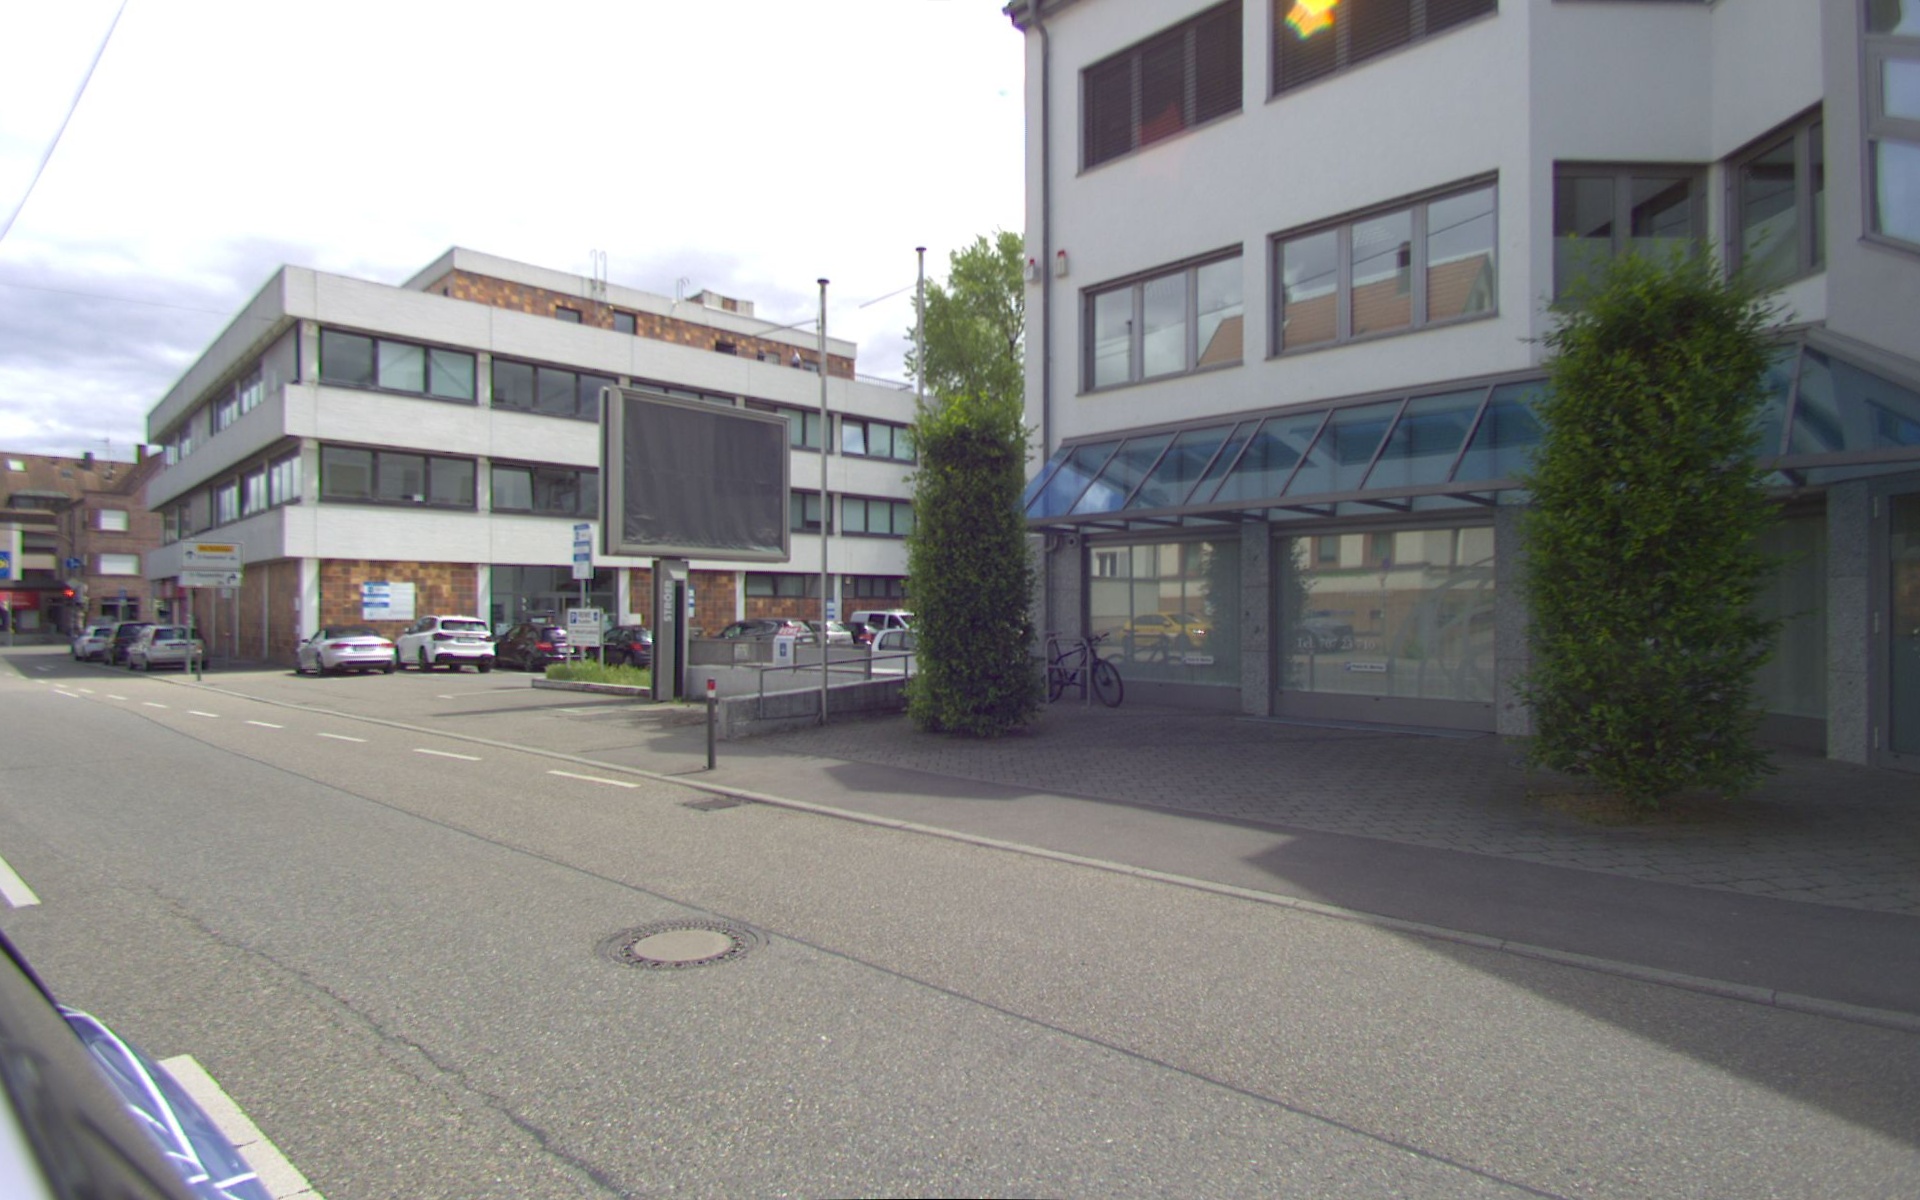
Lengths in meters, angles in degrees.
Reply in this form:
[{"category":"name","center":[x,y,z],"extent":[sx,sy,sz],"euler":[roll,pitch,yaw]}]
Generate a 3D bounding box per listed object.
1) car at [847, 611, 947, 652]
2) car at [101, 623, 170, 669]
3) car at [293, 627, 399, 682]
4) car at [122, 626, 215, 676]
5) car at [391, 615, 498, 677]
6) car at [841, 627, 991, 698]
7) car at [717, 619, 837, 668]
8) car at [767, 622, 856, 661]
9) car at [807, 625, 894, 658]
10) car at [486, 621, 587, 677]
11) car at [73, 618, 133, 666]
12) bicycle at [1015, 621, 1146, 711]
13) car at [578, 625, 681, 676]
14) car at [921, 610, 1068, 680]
[{"category":"car","center":[-2.775,1.326,44.116],"extent":[1.948,1.678,4.431],"euler":[-1,0,-44]},{"category":"car","center":[-30.592,1.644,37.524],"extent":[1.783,1.541,4.005],"euler":[-1,0,-42]},{"category":"car","center":[-17.425,1.488,28.636],"extent":[1.798,1.338,4.241],"euler":[-1,0,-42]},{"category":"car","center":[-25.747,1.610,32.875],"extent":[4.220,1.437,1.815],"euler":[-1,0,44]},{"category":"car","center":[-15.403,1.346,30.164],"extent":[1.870,1.710,3.805],"euler":[3,-3,-42]},{"category":"car","center":[-1.243,1.620,27.258],"extent":[3.951,1.678,1.798],"euler":[-1,0,44]},{"category":"car","center":[-6.135,1.399,33.715],"extent":[4.002,1.485,1.971],"euler":[-1,0,45]},{"category":"car","center":[-6.016,1.633,40.694],"extent":[1.644,1.451,3.860],"euler":[-1,0,-42]},{"category":"car","center":[-4.612,1.705,42.355],"extent":[1.637,1.269,3.860],"euler":[-1,0,-42]},{"category":"car","center":[-13.623,1.516,32.465],"extent":[3.844,1.620,1.625],"euler":[-1,0,45]},{"category":"car","center":[-34.550,1.630,40.757],"extent":[1.678,1.790,4.466],"euler":[-1,0,-42]},{"category":"bicycle","center":[1.640,0.874,13.889],"extent":[1.684,1.150,0.636],"euler":[-1,0,37]},{"category":"car","center":[-11.402,1.687,34.864],"extent":[3.665,1.578,1.773],"euler":[-1,0,41]},{"category":"car","center":[0.937,1.232,28.969],"extent":[3.989,1.828,1.833],"euler":[-1,0,44]}]
